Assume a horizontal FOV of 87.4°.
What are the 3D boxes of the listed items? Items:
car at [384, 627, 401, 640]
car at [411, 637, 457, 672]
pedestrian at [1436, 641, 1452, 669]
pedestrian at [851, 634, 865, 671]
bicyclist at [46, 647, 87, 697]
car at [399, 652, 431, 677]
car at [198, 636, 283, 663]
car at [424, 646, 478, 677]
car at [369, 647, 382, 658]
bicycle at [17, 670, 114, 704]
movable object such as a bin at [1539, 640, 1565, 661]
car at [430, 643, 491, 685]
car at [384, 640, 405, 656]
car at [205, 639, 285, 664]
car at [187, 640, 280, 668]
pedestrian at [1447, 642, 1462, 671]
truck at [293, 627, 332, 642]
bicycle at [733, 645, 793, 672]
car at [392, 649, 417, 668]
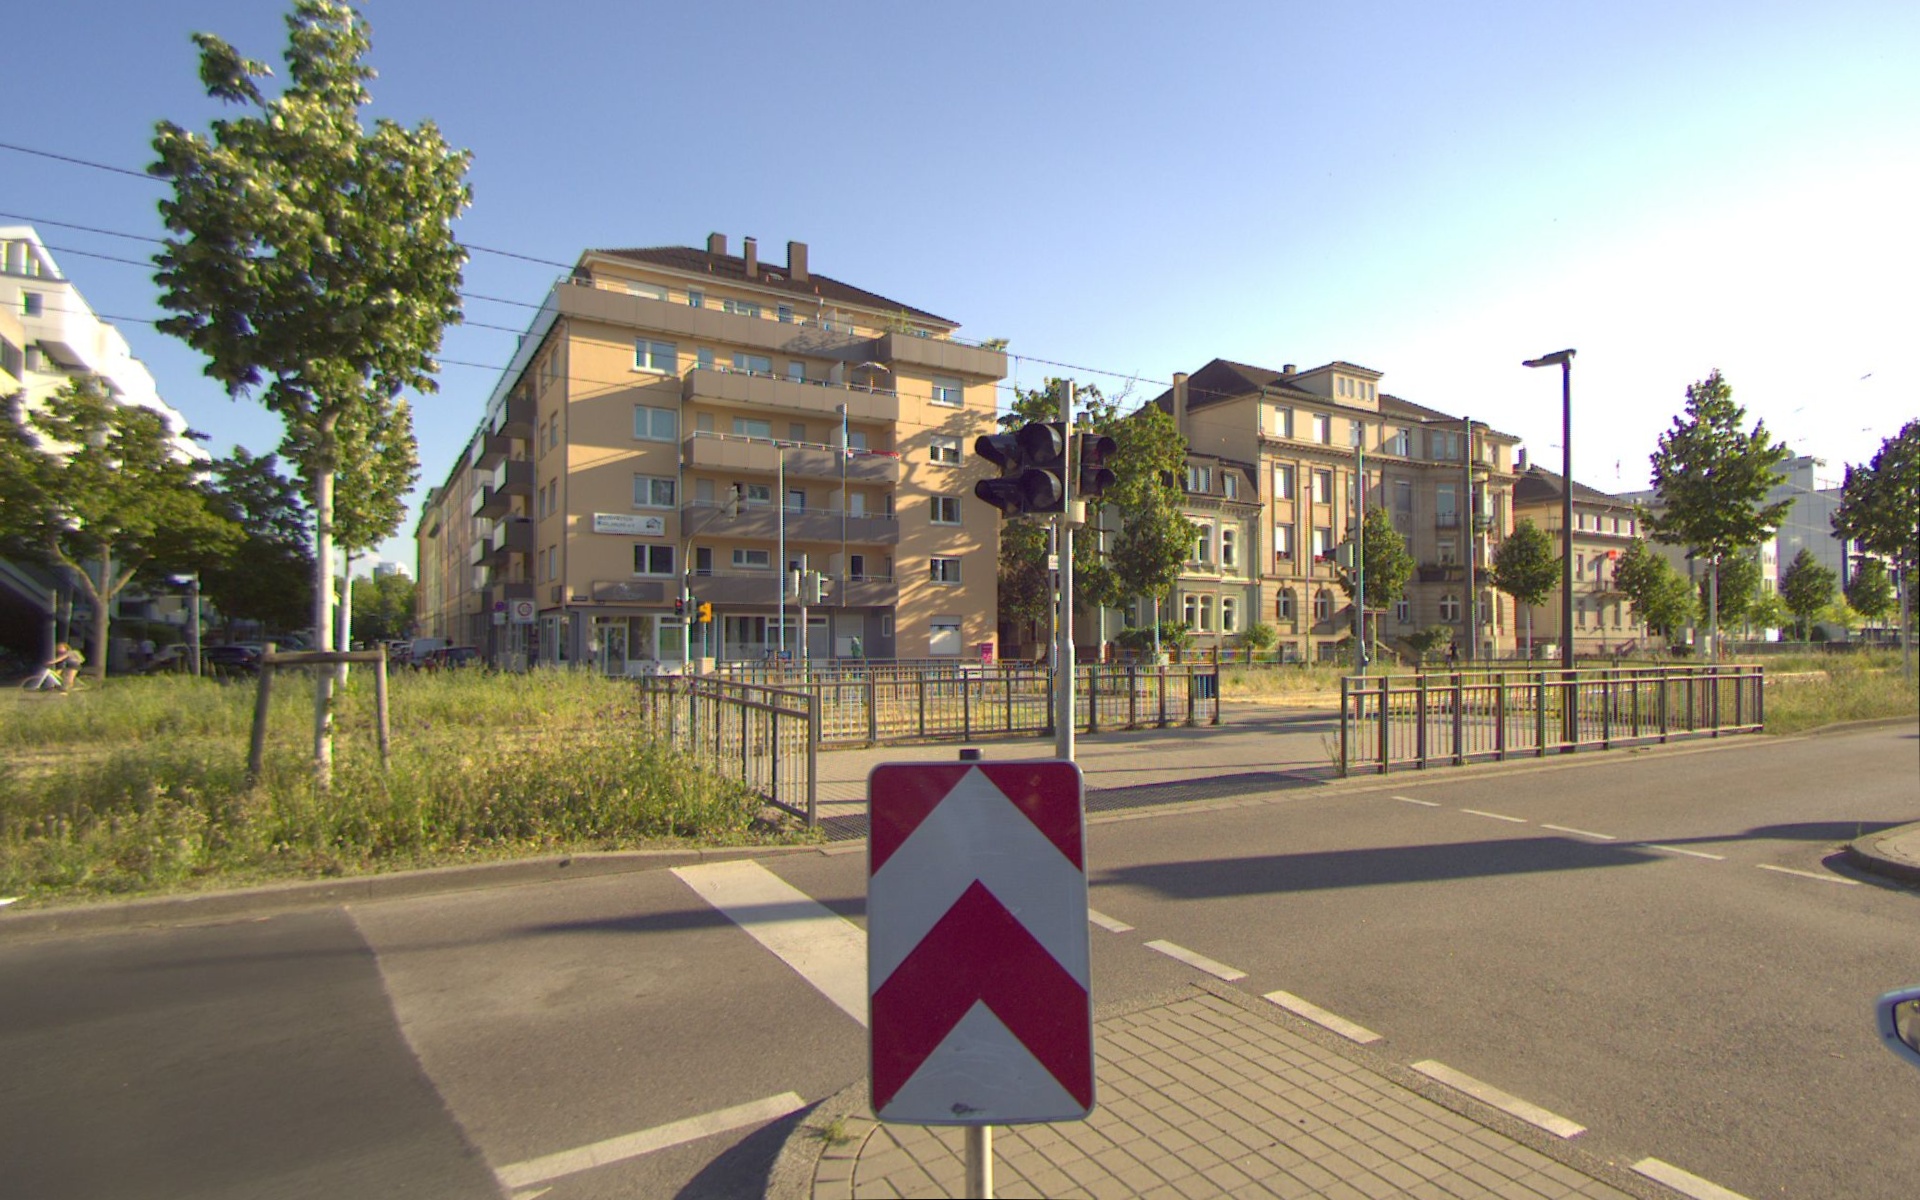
[{"bbox_3d":[-71.484,4.270,126.443,1.801,1.627,3.855,1,-2,-31],"label":"car"},{"bbox_3d":[-28.400,2.896,54.212,1.977,1.766,3.967,1,-2,-31],"label":"car"},{"bbox_3d":[29.816,3.376,61.907,0.646,1.743,0.652,1,-2,-32],"label":"pedestrian"},{"bbox_3d":[-4.423,2.273,43.589,0.442,1.576,0.518,1,-2,-24],"label":"pedestrian"},{"bbox_3d":[-25.908,2.068,29.114,0.724,1.412,0.714,-1,-2,34],"label":"bicyclist"},{"bbox_3d":[-38.693,4.554,71.295,1.801,1.627,3.855,1,-2,-31],"label":"car"},{"bbox_3d":[-43.319,2.966,60.601,3.953,1.533,1.984,1,-2,-31],"label":"car"},{"bbox_3d":[-23.867,2.834,47.071,1.977,1.321,3.967,1,-2,-31],"label":"car"},{"bbox_3d":[-109.220,9.792,187.788,1.977,2.040,3.967,1,-2,-31],"label":"car"},{"bbox_3d":[-25.901,2.509,29.131,0.498,0.903,2.025,-1,-2,35],"label":"bicycle"},{"bbox_3d":[41.528,3.554,70.498,1.068,1.447,1.199,1,-2,-32],"label":"movable object such as a bin"},{"bbox_3d":[-19.870,2.493,39.857,1.827,1.516,3.966,1,-2,-31],"label":"car"},{"bbox_3d":[-59.542,5.026,105.712,1.801,1.627,3.855,1,-2,-31],"label":"car"},{"bbox_3d":[-45.932,3.271,64.621,3.953,1.533,1.984,1,-2,-31],"label":"car"},{"bbox_3d":[-40.560,2.994,56.199,3.953,1.533,1.984,1,-2,-31],"label":"car"},{"bbox_3d":[30.200,3.435,61.288,0.646,1.743,0.552,1,-2,-32],"label":"pedestrian"},{"bbox_3d":[-92.205,4.943,143.125,4.572,2.197,1.804,2,-2,-35],"label":"truck"},{"bbox_3d":[-8.620,2.568,44.026,2.557,1.152,0.528,1,-2,-32],"label":"bicycle"},{"bbox_3d":[-48.180,5.053,87.103,1.801,1.627,3.855,1,-2,-31],"label":"car"}]
